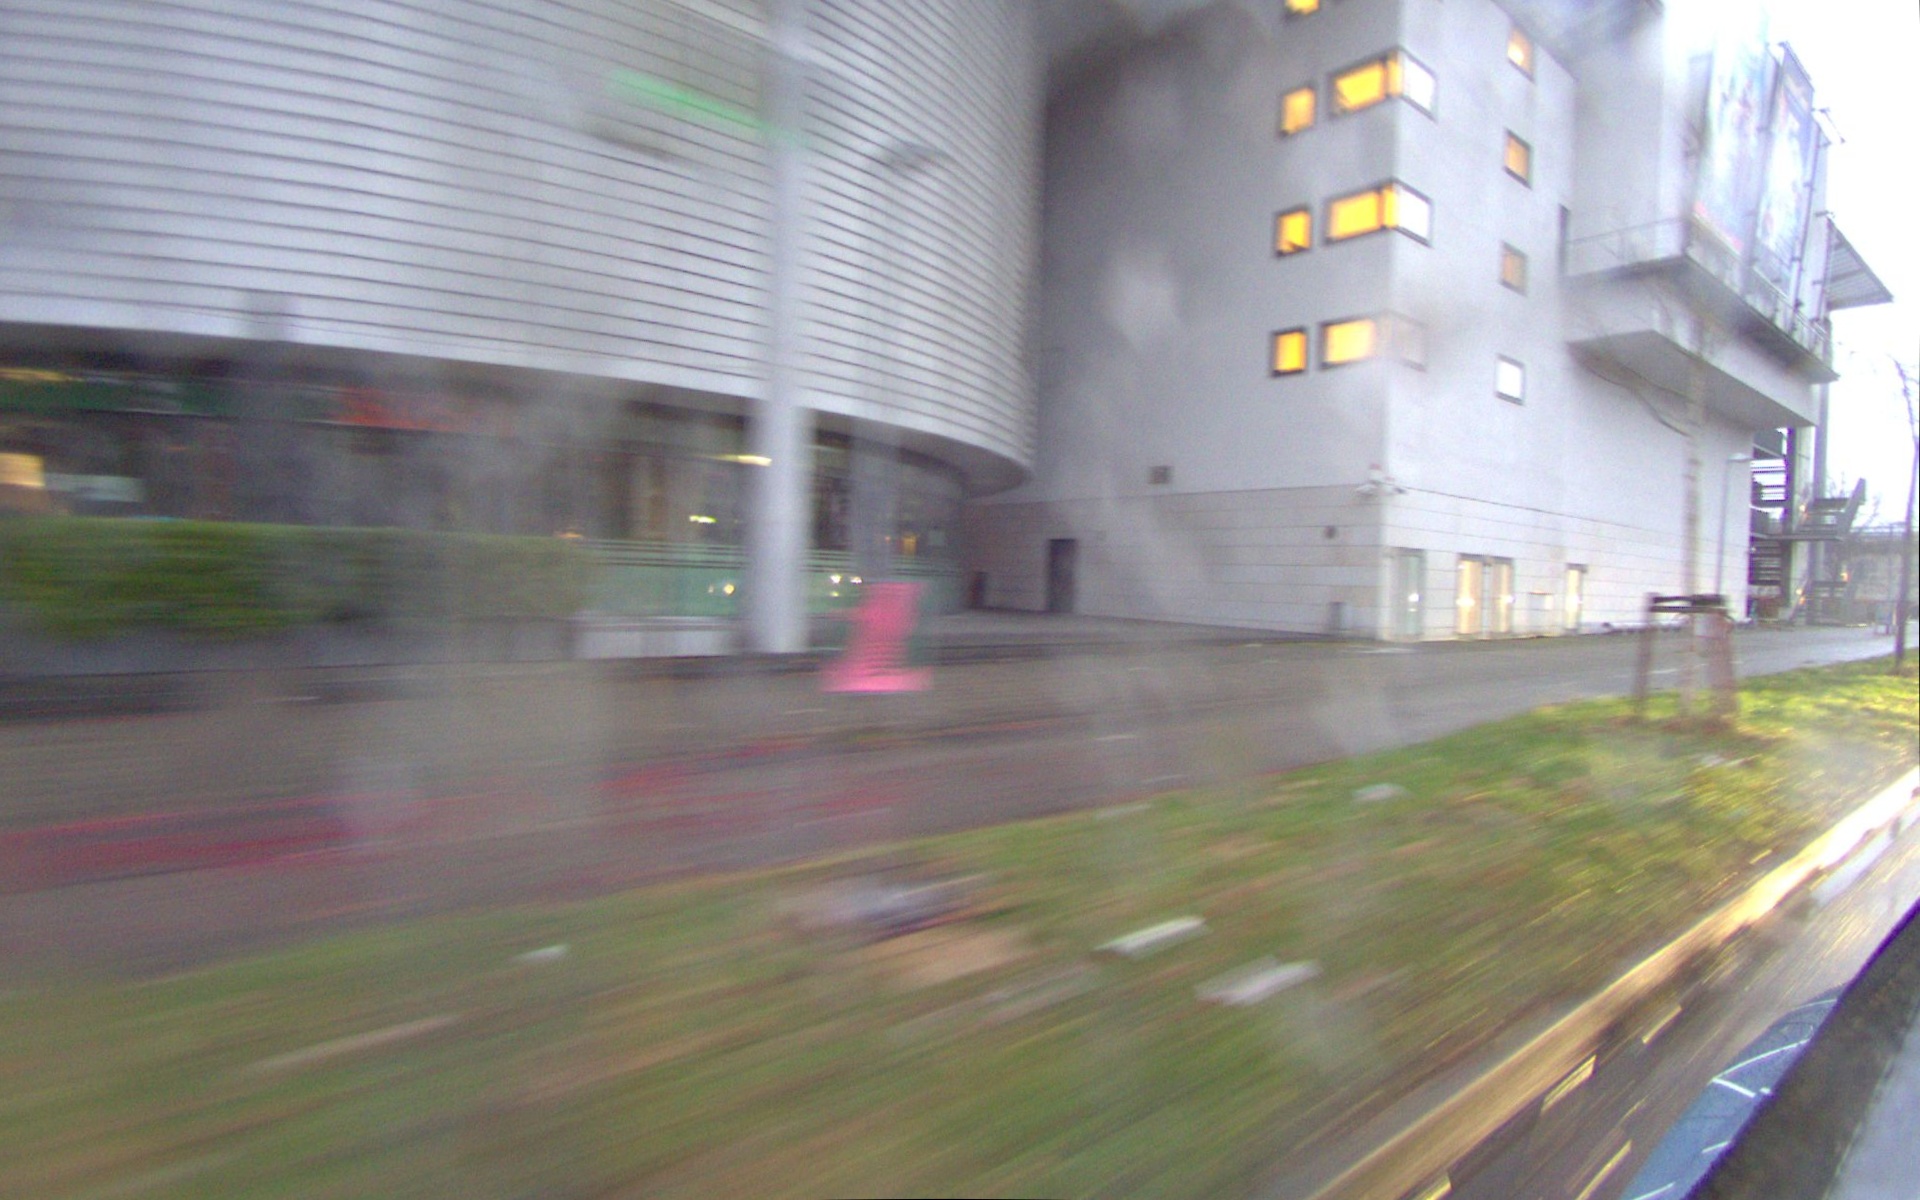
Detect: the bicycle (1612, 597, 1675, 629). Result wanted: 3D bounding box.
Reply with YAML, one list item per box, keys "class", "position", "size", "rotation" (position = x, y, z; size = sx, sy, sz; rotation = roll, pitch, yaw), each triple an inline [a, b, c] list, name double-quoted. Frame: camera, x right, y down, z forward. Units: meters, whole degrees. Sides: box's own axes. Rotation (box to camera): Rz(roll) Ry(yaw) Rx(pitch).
- class: "bicycle"
  position: [24.528, 0.452, 36.351]
  size: [0.390, 1.065, 1.812]
  rotation: [1, 2, -41]

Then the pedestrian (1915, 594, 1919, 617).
- class: "pedestrian"
  position: [68.581, 0.393, 72.082]
  size: [0.601, 1.646, 0.676]
  rotation: [0, -1, -24]

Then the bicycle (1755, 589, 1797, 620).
- class: "bicycle"
  position: [35.321, 0.200, 43.815]
  size: [1.708, 1.301, 0.412]
  rotation: [0, -1, -12]
